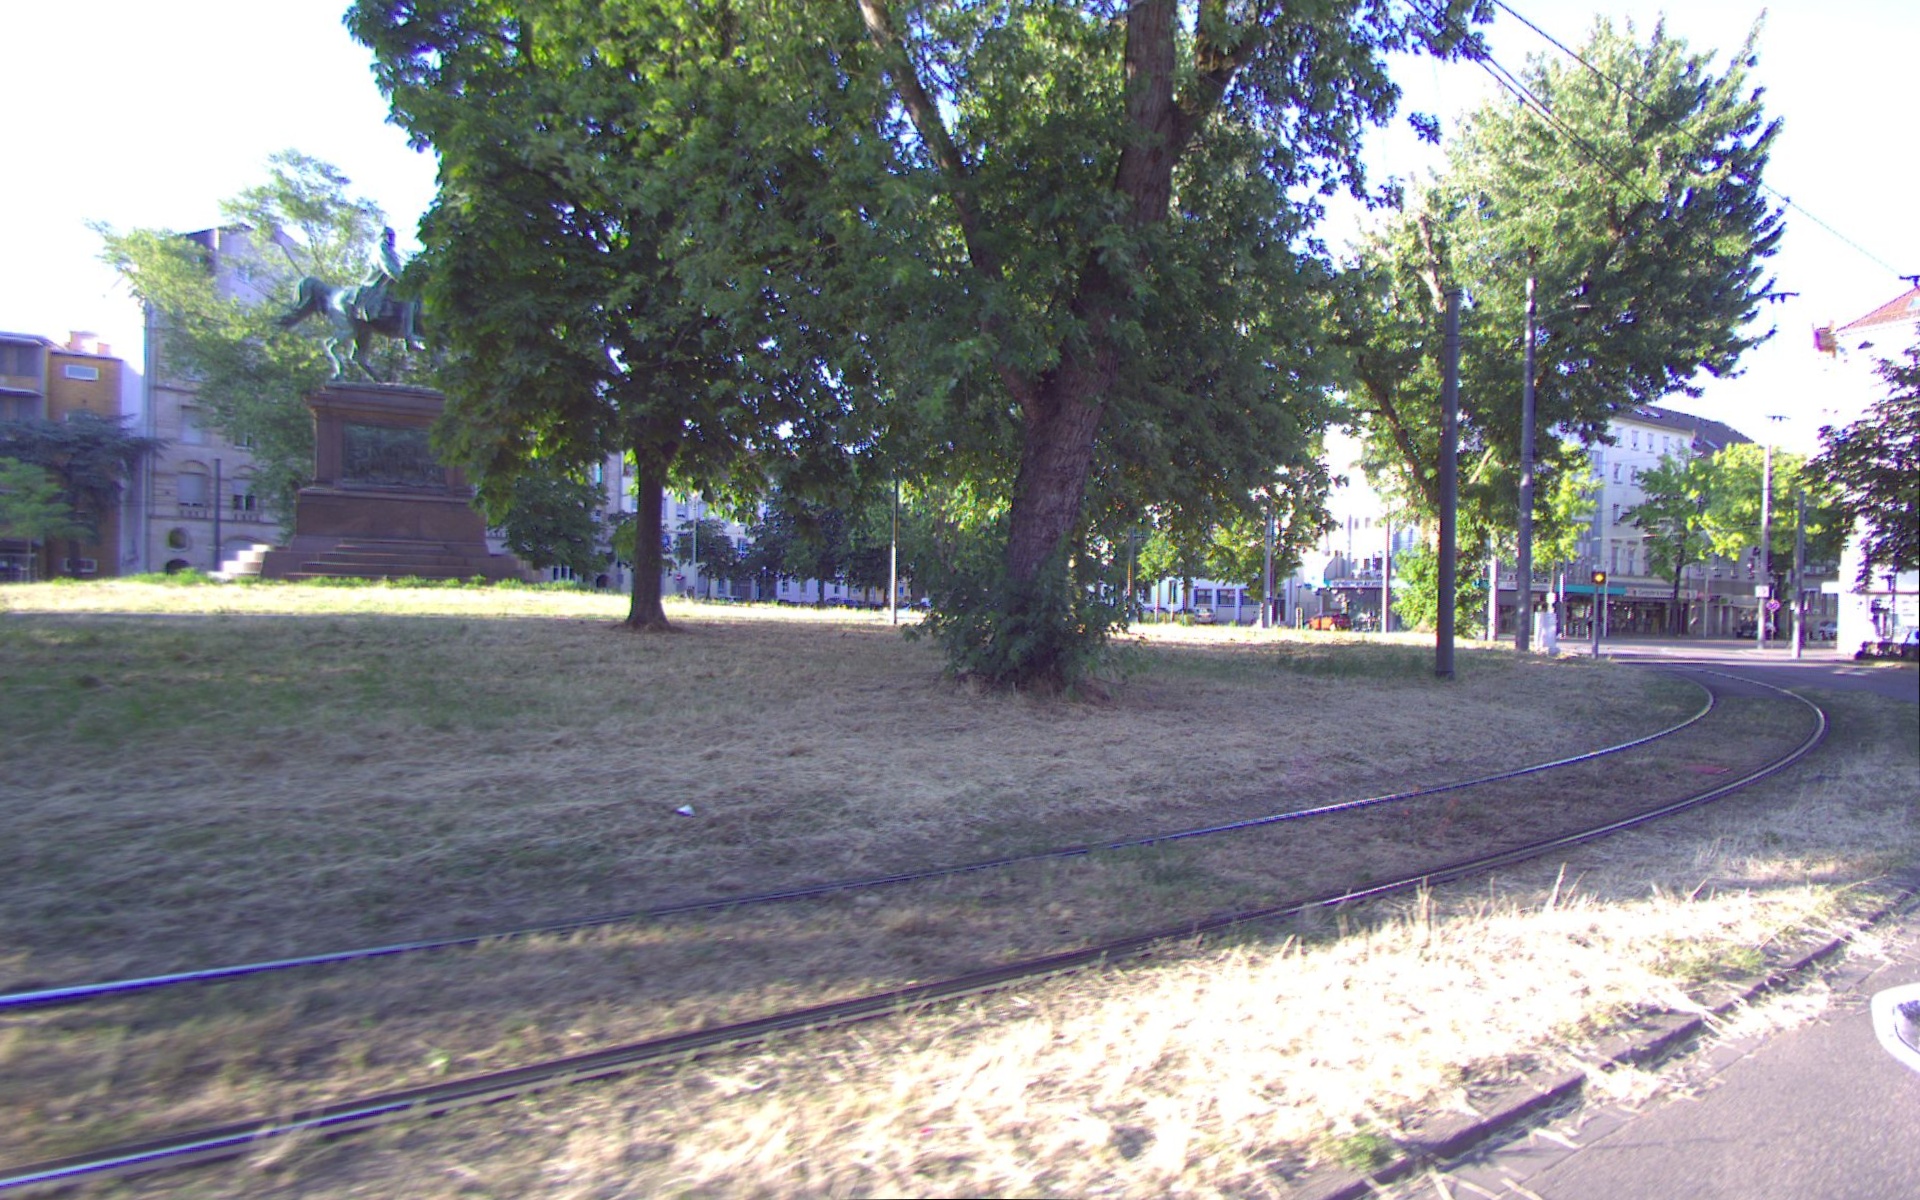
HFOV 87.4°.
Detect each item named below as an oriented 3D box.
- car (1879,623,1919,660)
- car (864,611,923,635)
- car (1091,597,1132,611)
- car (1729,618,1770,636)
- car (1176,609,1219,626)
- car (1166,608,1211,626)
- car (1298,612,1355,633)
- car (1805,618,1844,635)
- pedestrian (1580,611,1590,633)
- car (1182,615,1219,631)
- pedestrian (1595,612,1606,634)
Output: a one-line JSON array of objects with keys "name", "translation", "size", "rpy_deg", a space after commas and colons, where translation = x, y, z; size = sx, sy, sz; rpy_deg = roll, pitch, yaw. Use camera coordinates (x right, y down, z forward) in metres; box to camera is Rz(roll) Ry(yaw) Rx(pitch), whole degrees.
[{"name": "car", "translation": [43.042, 1.862, 44.095], "size": [1.641, 1.573, 3.598], "rpy_deg": [1, 1, -27]}, {"name": "car", "translation": [-4.579, 1.598, 69.769], "size": [3.875, 1.483, 1.593], "rpy_deg": [2, 1, 2]}, {"name": "car", "translation": [14.512, 0.383, 96.354], "size": [1.588, 1.272, 3.925], "rpy_deg": [1, 1, -37]}, {"name": "car", "translation": [70.254, 2.433, 89.404], "size": [3.581, 1.496, 1.649], "rpy_deg": [1, 1, -30]}, {"name": "car", "translation": [21.933, 1.621, 92.874], "size": [1.583, 1.461, 3.695], "rpy_deg": [1, 1, -35]}, {"name": "car", "translation": [19.752, 1.452, 86.894], "size": [1.583, 1.461, 3.696], "rpy_deg": [1, 1, -35]}, {"name": "car", "translation": [29.151, 1.795, 80.041], "size": [1.975, 1.483, 3.970], "rpy_deg": [1, 1, -28]}, {"name": "car", "translation": [82.812, 2.565, 96.201], "size": [3.579, 1.496, 1.650], "rpy_deg": [1, 1, -28]}, {"name": "pedestrian", "translation": [51.270, 1.811, 82.411], "size": [0.534, 1.723, 0.476], "rpy_deg": [1, 1, -29]}, {"name": "car", "translation": [22.221, 2.085, 92.878], "size": [1.512, 1.314, 3.376], "rpy_deg": [1, 1, -29]}, {"name": "pedestrian", "translation": [51.847, 1.852, 81.339], "size": [0.534, 1.723, 0.476], "rpy_deg": [1, 1, -29]}]
